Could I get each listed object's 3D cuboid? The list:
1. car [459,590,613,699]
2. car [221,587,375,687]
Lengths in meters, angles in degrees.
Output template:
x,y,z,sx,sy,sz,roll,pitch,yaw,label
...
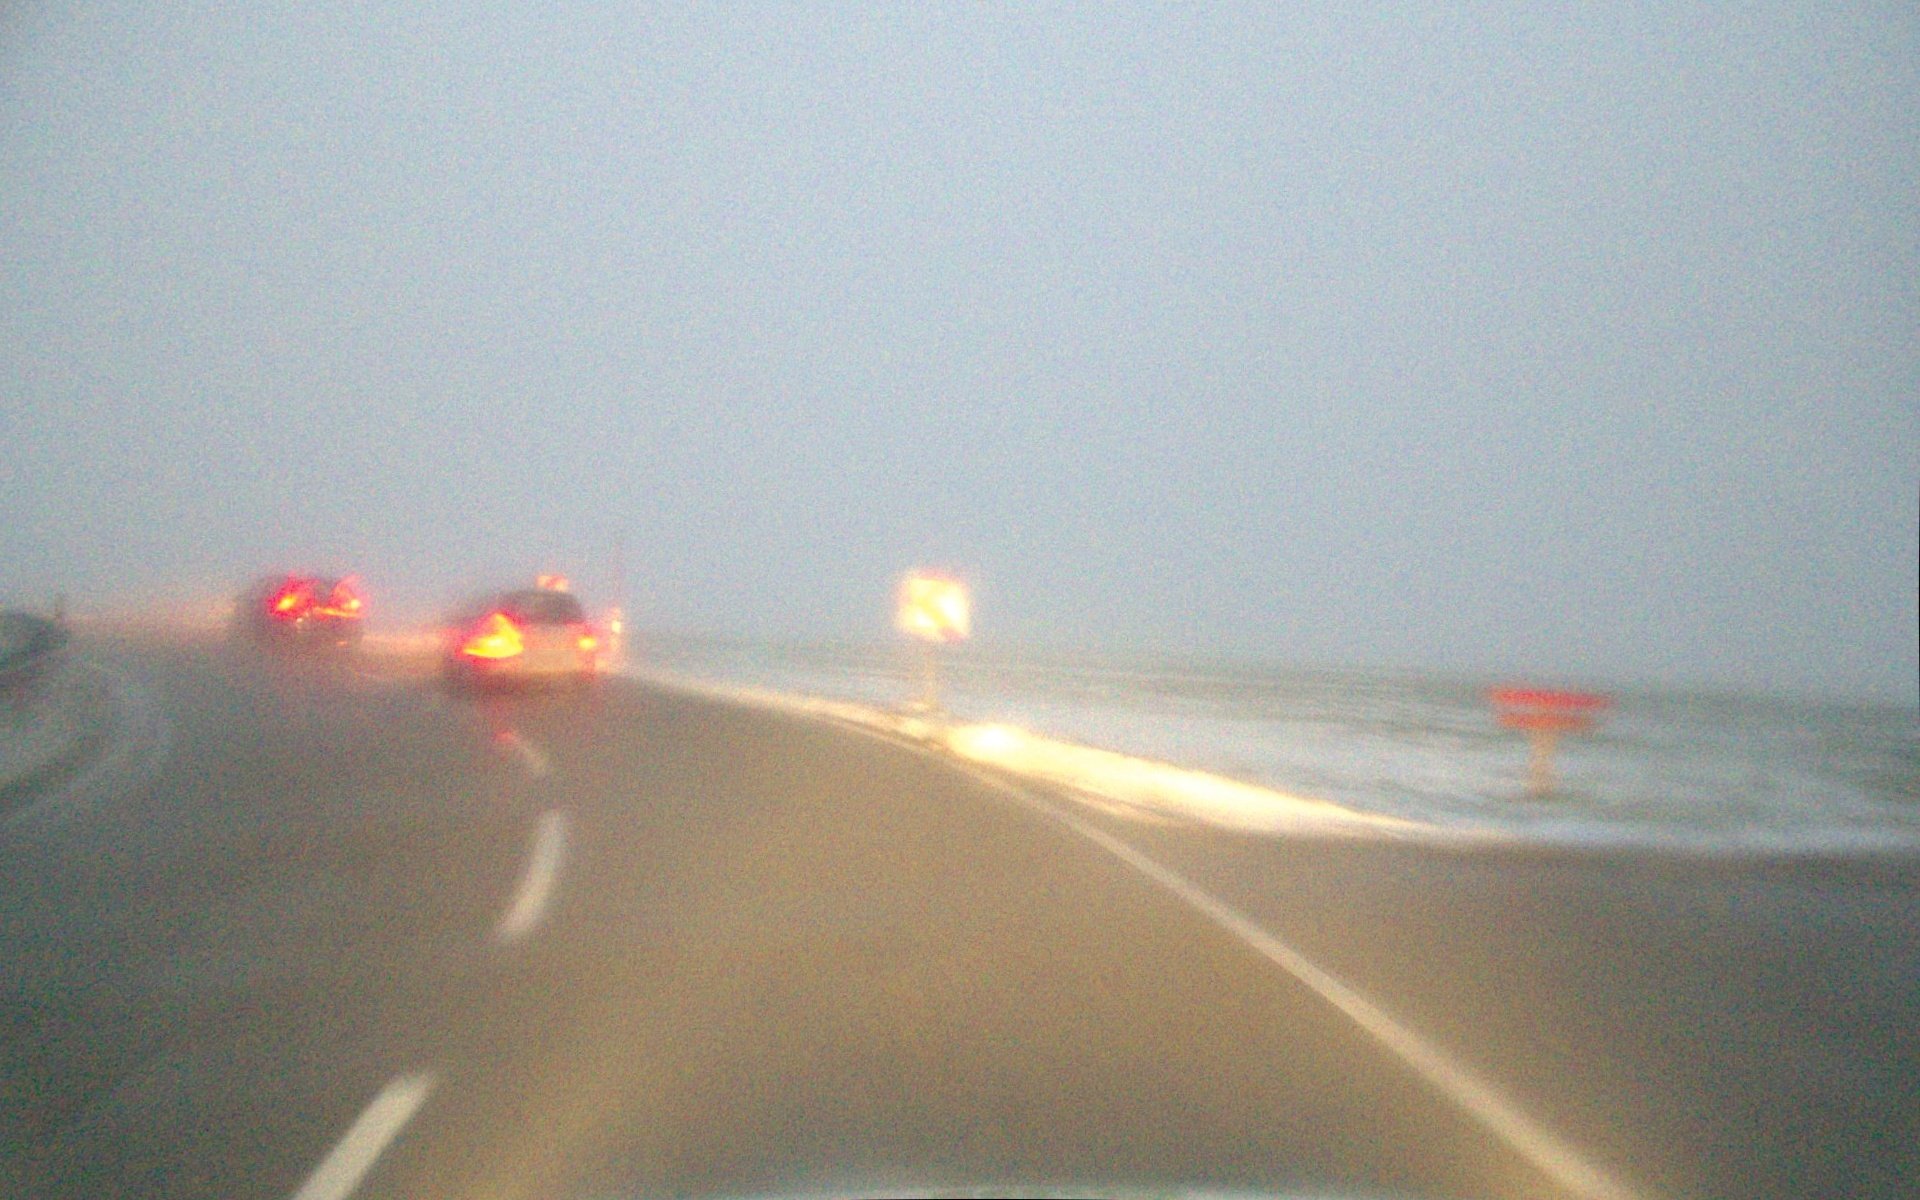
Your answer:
x,y,z,sx,sy,sz,roll,pitch,yaw,label
-6.131,0.579,23.650,1.915,1.405,3.980,0,0,-18,car
-13.106,0.697,32.631,1.977,1.814,3.951,-1,0,-35,car
